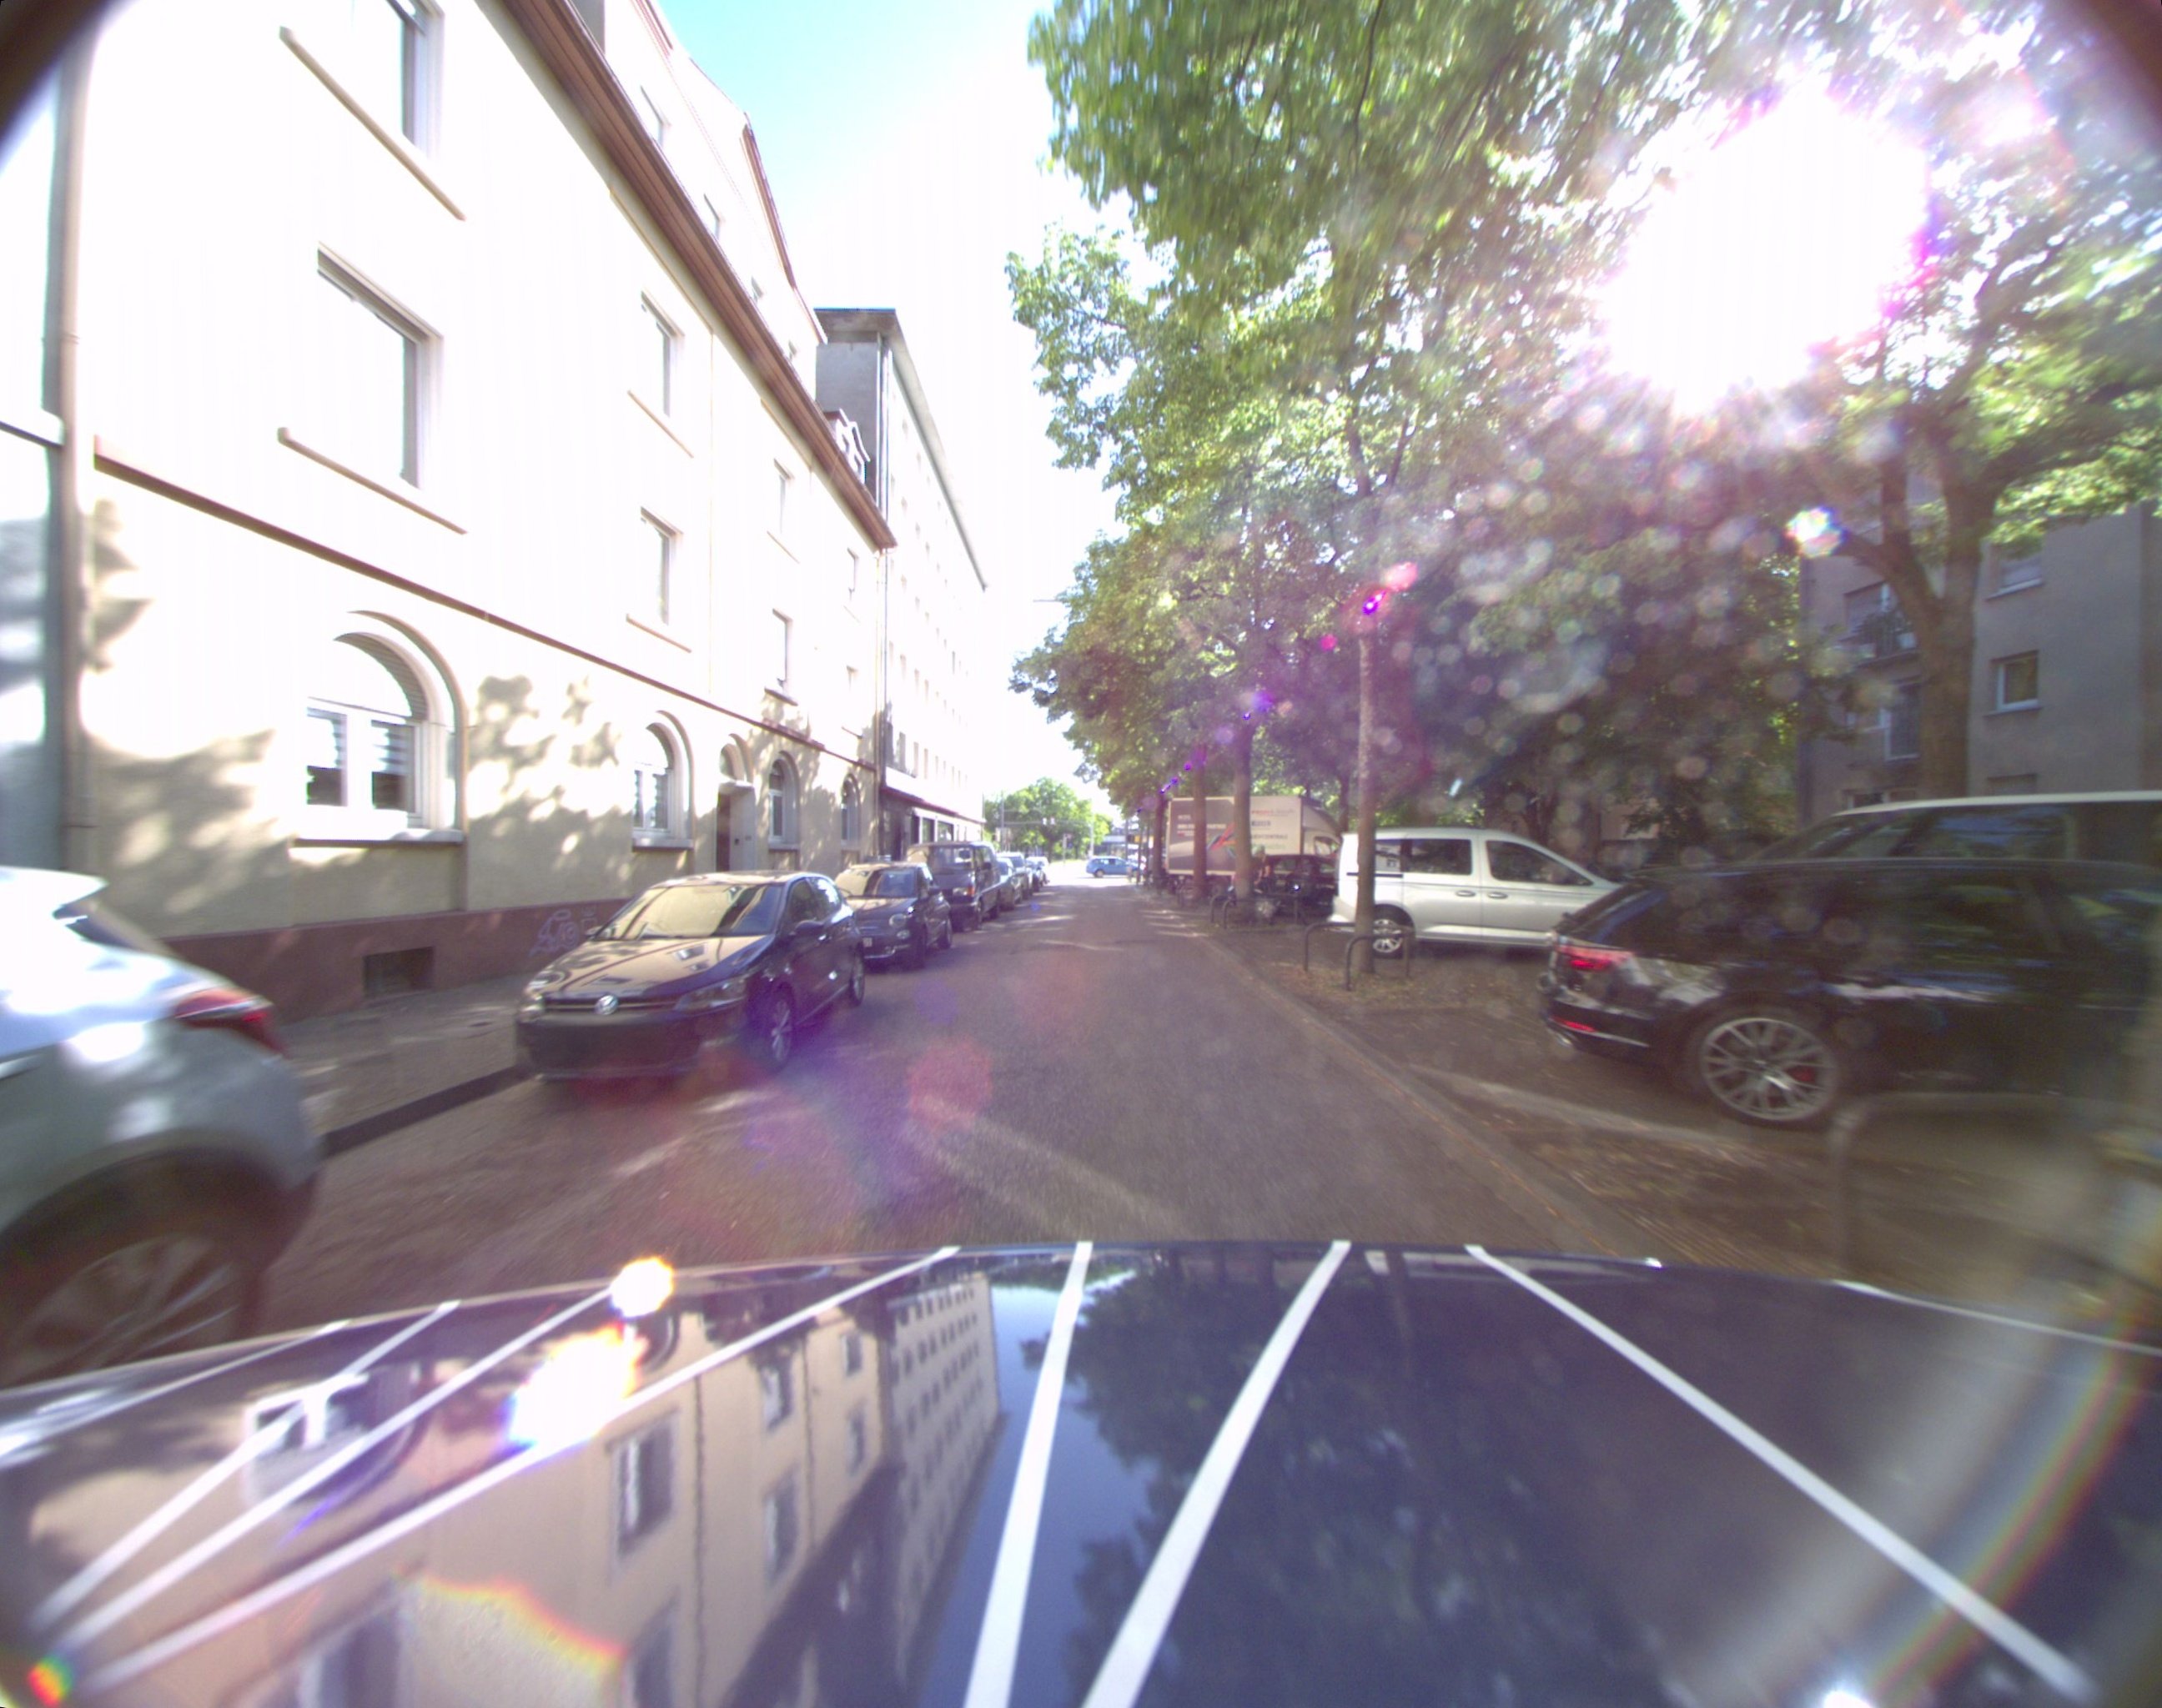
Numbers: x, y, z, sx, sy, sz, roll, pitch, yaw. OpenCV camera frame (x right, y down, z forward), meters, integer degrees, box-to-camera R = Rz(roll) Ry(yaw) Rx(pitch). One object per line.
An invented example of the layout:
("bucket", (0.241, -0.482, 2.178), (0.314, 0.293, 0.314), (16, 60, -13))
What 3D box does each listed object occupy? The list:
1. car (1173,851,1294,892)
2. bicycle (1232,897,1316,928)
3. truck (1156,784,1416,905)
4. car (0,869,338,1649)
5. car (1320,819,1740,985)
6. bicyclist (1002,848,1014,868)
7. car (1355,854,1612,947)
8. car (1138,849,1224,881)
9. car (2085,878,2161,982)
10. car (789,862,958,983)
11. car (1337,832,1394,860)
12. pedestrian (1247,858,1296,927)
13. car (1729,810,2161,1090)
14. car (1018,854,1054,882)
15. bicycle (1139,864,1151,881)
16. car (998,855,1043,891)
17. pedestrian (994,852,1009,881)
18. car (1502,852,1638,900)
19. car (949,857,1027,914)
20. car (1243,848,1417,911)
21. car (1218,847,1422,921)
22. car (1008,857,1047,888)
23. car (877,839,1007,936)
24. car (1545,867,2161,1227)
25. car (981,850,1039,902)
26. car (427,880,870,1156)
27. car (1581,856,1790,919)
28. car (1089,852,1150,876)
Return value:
("car", (6.019, 0.656, 30.147), (4.331, 1.498, 1.817), (0, 0, 35))
("bicycle", (3.942, 1.189, 15.583), (1.610, 0.555, 0.410), (0, 1, 32))
("truck", (6.190, -0.265, 23.515), (7.304, 3.274, 2.552), (0, 1, 32))
("car", (-3.177, 0.898, 0.304), (1.727, 1.676, 4.157), (0, 0, -2))
("car", (5.782, 0.548, 10.405), (4.512, 1.854, 2.084), (-1, 1, 26))
("bicyclist", (-5.785, 0.322, 60.066), (0.829, 1.555, 0.595), (0, 1, -21))
("car", (6.967, 0.728, 13.306), (3.791, 1.398, 1.627), (-1, 1, 34))
("car", (5.579, 0.612, 42.414), (4.325, 1.661, 1.841), (-2, -1, 30))
("car", (15.637, 1.075, 8.843), (1.732, 1.385, 4.616), (1, 0, -1))
("car", (-2.938, 0.889, 11.499), (1.626, 1.489, 3.594), (0, 0, -1))
("car", (16.031, -0.417, 43.001), (1.758, 1.502, 3.949), (0, 0, 1))
("pedestrian", (4.043, 0.791, 16.075), (0.751, 1.388, 0.930), (0, 1, 32))
("car", (7.964, 0.616, 5.549), (4.593, 1.822, 2.022), (1, 1, 30))
("car", (-2.546, 0.779, 44.113), (1.723, 1.488, 4.023), (0, 0, 2))
("bicycle", (3.983, 1.141, 47.184), (0.354, 1.066, 1.591), (0, 0, -10))
("car", (-2.616, 0.783, 33.382), (1.807, 1.455, 4.438), (0, 0, -4))
("pedestrian", (-4.761, 0.765, 45.747), (0.760, 1.712, 0.745), (0, 1, 7))
("car", (15.950, 0.664, 25.072), (1.768, 1.426, 4.343), (0, 0, 1))
("car", (-2.657, 0.846, 22.602), (1.766, 1.491, 4.238), (0, 0, 0))
("car", (6.506, 0.629, 19.965), (3.989, 1.494, 1.852), (-1, 1, 32))
("car", (5.383, 0.631, 17.280), (4.097, 1.497, 1.736), (-1, 1, 32))
("car", (-2.646, 0.874, 38.111), (1.600, 1.455, 3.673), (0, 0, 2))
("car", (-2.931, 0.642, 17.169), (1.953, 1.889, 4.845), (0, 0, 1))
("car", (5.019, 0.823, 3.887), (4.477, 1.447, 1.791), (0, 1, 33))
("car", (-2.529, 0.726, 28.025), (1.766, 1.743, 4.509), (0, 0, -1))
("car", (-2.960, 0.985, 6.210), (1.553, 1.386, 3.860), (0, 0, -3))
("car", (15.638, 0.800, 20.007), (1.769, 1.426, 4.341), (1, 0, -6))
("car", (2.843, 0.704, 56.685), (4.482, 1.765, 1.873), (0, 0, -1))
